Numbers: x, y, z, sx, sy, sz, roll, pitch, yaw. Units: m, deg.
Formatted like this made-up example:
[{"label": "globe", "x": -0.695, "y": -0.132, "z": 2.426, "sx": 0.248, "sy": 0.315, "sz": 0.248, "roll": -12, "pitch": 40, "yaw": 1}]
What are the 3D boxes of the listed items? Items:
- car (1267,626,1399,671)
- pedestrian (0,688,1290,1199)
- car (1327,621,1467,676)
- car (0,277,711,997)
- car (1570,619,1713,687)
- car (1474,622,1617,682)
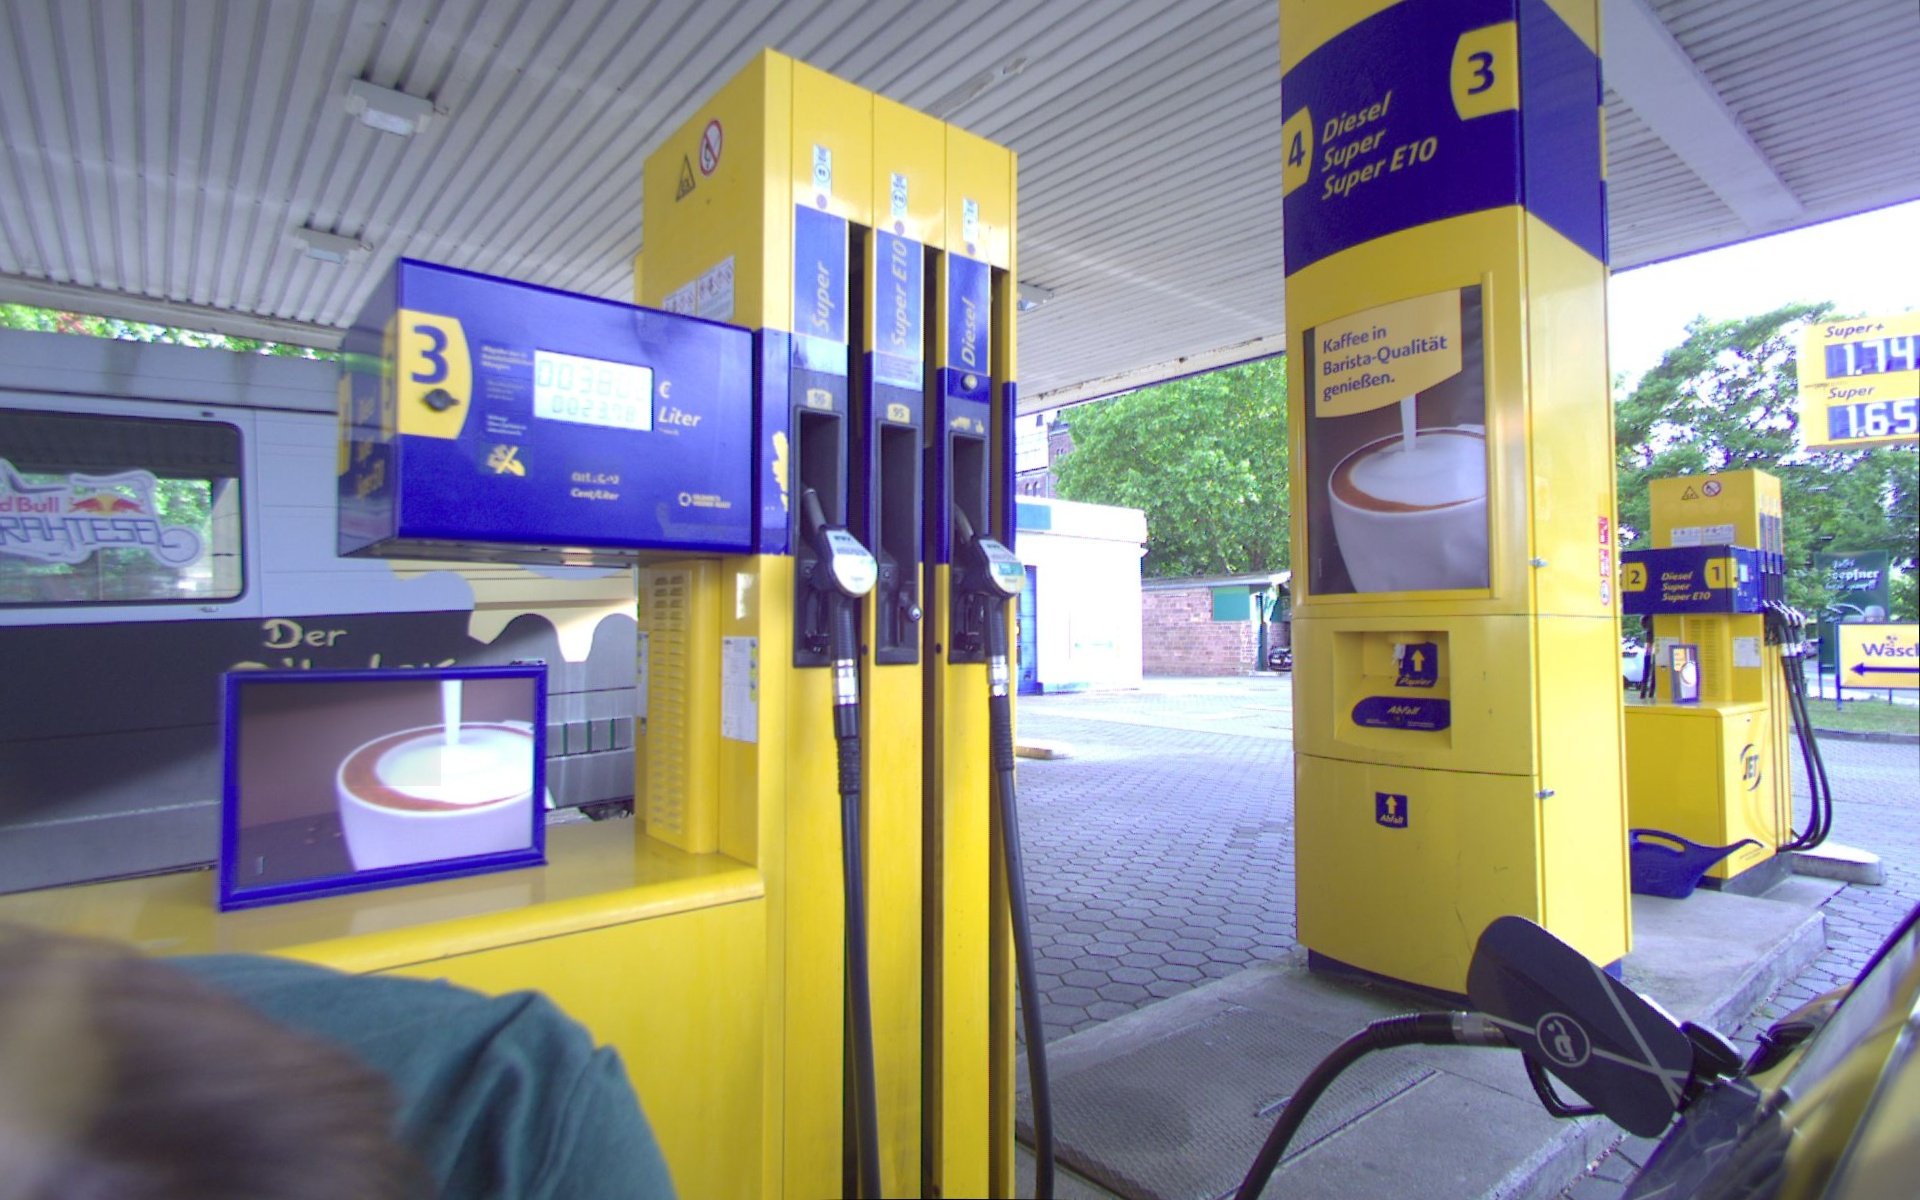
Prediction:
[{"label": "car", "x": 12.695, "y": 1.654, "z": 34.436, "sx": 4.303, "sy": 1.393, "sz": 1.777, "roll": 2, "pitch": -1, "yaw": -28}, {"label": "pedestrian", "x": -0.329, "y": 0.746, "z": 0.554, "sx": 0.662, "sy": 1.298, "sz": 0.751, "roll": 0, "pitch": 0, "yaw": -41}, {"label": "car", "x": 13.891, "y": 1.531, "z": 32.145, "sx": 4.303, "sy": 1.622, "sz": 1.777, "roll": 2, "pitch": -1, "yaw": -28}, {"label": "car", "x": -4.104, "y": 0.157, "z": 4.902, "sx": 5.197, "sy": 2.726, "sz": 2.258, "roll": 1, "pitch": -2, "yaw": -39}, {"label": "car", "x": 18.361, "y": 1.448, "z": 27.211, "sx": 4.308, "sy": 1.622, "sz": 1.774, "roll": 4, "pitch": -4, "yaw": -35}, {"label": "car", "x": 17.851, "y": 1.591, "z": 30.810, "sx": 4.303, "sy": 1.622, "sz": 1.776, "roll": 4, "pitch": -4, "yaw": -28}]
